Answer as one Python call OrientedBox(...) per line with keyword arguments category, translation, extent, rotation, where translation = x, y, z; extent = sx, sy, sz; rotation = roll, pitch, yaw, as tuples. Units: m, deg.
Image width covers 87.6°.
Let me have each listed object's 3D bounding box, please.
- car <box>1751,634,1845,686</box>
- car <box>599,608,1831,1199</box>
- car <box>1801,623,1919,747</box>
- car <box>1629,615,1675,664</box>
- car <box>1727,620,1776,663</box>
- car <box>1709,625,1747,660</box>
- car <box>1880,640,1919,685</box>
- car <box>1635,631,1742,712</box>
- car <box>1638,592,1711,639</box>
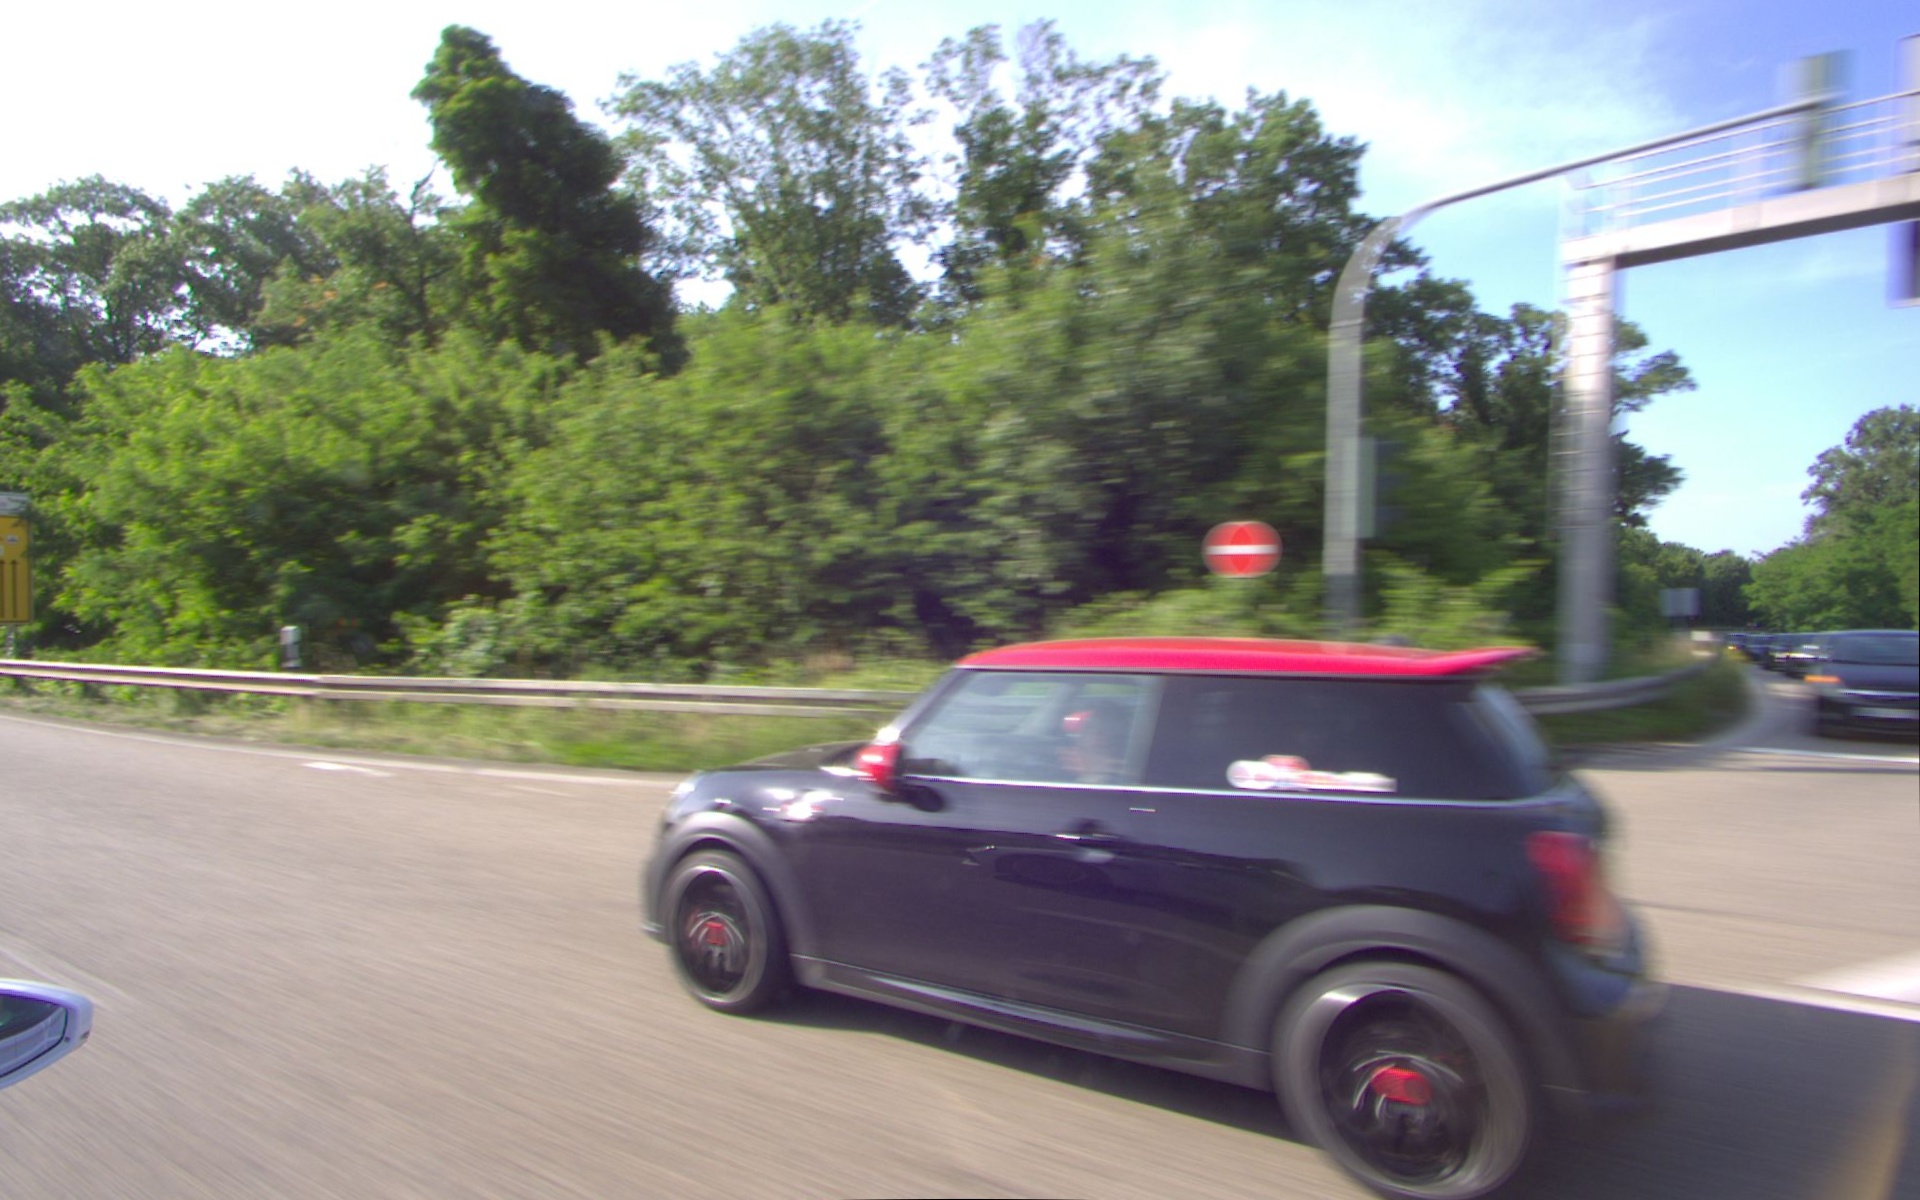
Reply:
OrientedBox(category="car", translation=(25.696, 1.787, 30.838), extent=(1.844, 1.459, 4.099), rotation=(0, -1, 35))
OrientedBox(category="car", translation=(0.646, 0.806, 3.875), extent=(3.815, 1.486, 1.818), rotation=(0, -2, 30))
OrientedBox(category="car", translation=(13.031, 1.114, 14.101), extent=(1.763, 1.515, 4.093), rotation=(0, -1, 40))
OrientedBox(category="car", translation=(30.243, 1.712, 43.848), extent=(1.572, 2.039, 3.979), rotation=(0, -2, 34))
OrientedBox(category="car", translation=(39.362, 2.070, 49.842), extent=(1.572, 2.039, 3.979), rotation=(0, -2, 34))
OrientedBox(category="car", translation=(47.442, 2.612, 61.893), extent=(1.572, 2.039, 3.979), rotation=(0, -2, 34))
OrientedBox(category="car", translation=(33.365, 2.131, 34.531), extent=(1.844, 1.459, 4.099), rotation=(0, -1, 35))
OrientedBox(category="car", translation=(13.461, 1.250, 18.590), extent=(1.471, 1.330, 3.616), rotation=(0, -1, 35))
OrientedBox(category="car", translation=(23.588, 0.521, 33.118), extent=(1.844, 1.459, 4.099), rotation=(0, -1, 35))
